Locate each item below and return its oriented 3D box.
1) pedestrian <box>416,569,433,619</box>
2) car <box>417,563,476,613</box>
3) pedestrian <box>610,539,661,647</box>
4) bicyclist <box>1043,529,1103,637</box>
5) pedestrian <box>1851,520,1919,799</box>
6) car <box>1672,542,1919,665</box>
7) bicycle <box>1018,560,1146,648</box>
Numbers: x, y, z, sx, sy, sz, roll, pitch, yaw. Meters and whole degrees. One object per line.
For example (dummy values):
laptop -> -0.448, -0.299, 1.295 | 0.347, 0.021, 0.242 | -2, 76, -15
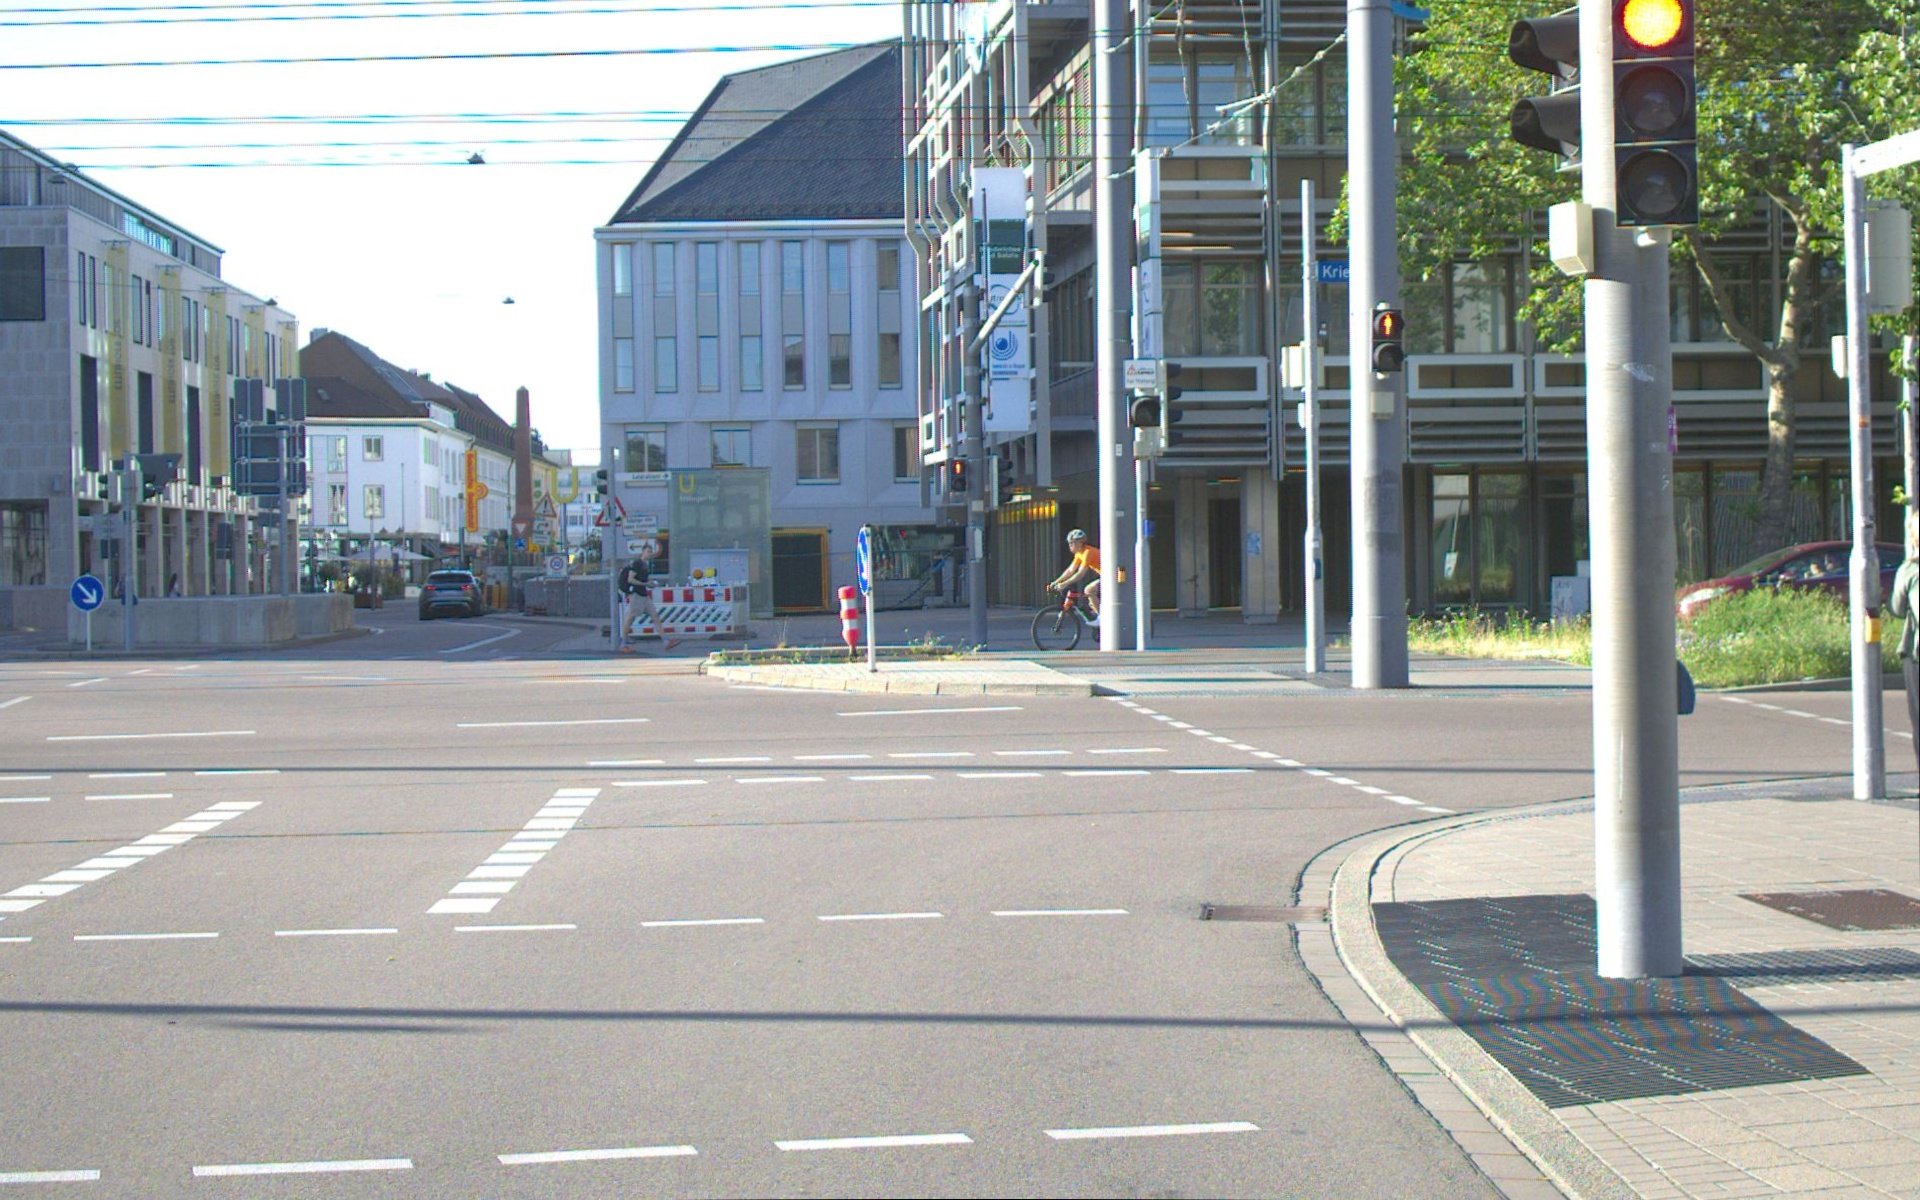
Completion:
pedestrian -> -18.258, -0.208, 117.248 | 0.521, 1.674, 0.583 | 1, 1, -7
car -> -16.144, -0.382, 108.205 | 1.737, 1.525, 3.856 | 1, 1, -7
pedestrian -> -5.725, -0.121, 60.641 | 0.642, 1.883, 0.790 | 1, 0, 14
bicyclist -> 1.518, -0.227, 46.272 | 0.711, 1.432, 0.497 | 1, 0, -9
pedestrian -> 5.334, 0.317, 18.674 | 0.788, 1.487, 0.644 | 1, 0, -1
car -> 11.734, 0.032, 46.224 | 3.884, 1.579, 1.660 | -1, 1, -7
bicycle -> 1.645, 0.051, 46.293 | 1.644, 1.150, 0.497 | 1, 0, -9
